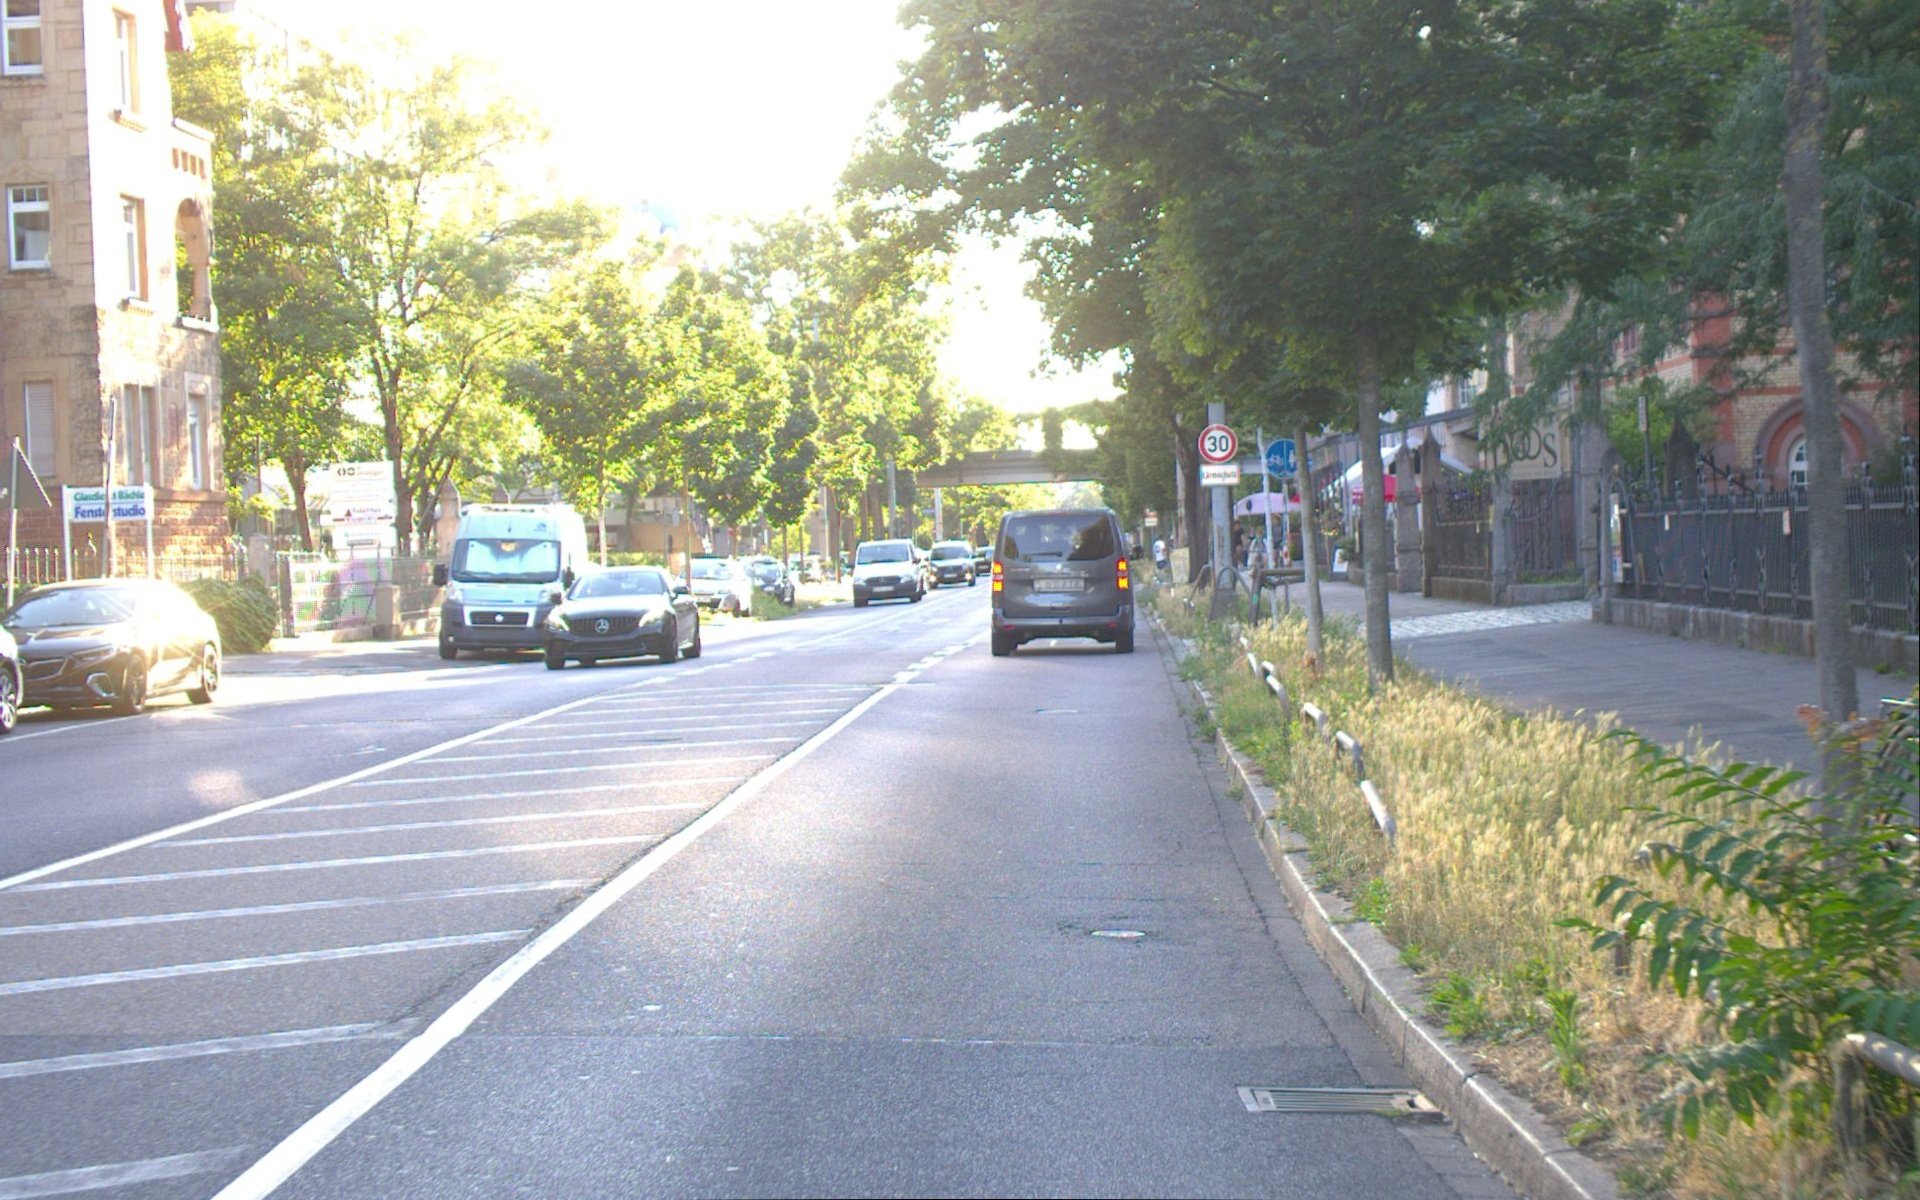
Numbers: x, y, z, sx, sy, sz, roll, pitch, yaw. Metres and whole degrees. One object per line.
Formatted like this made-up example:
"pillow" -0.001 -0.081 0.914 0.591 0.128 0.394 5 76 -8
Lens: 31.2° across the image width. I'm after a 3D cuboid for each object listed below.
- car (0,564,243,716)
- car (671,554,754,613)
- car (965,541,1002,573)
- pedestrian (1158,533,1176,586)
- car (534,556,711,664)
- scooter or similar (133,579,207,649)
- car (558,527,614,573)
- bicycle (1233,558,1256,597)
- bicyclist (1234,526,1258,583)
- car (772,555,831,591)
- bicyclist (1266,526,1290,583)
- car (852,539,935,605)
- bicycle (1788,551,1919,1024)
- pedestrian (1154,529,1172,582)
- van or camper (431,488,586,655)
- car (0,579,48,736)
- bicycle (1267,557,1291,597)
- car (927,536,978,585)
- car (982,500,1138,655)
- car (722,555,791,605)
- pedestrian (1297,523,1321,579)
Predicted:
"car" -9.382 0.392 37.289 1.994 1.478 4.829 -2 1 2
"car" -6.258 -0.437 87.273 1.697 1.446 4.000 0 1 2
"car" 1.217 -2.229 178.468 1.679 1.525 4.000 -3 1 3
"pedestrian" 7.288 -1.429 121.112 0.504 1.882 0.545 0 1 -12
"car" -4.785 0.110 49.340 1.766 1.397 4.544 -2 1 4
"scooter or similar" -12.585 0.217 54.786 1.115 1.053 0.288 -4 1 -45
"car" -18.648 -2.503 171.657 1.994 2.300 5.245 0 1 3
"bicycle" 7.657 -0.614 92.617 0.544 1.036 2.089 0 1 2
"bicyclist" 7.694 -1.232 92.542 0.595 1.527 0.893 0 1 2
"car" -6.370 -1.107 138.780 1.994 1.409 4.237 0 1 3
"bicyclist" 8.575 -1.228 92.625 0.595 1.527 0.893 0 1 2
"car" -1.956 -0.861 102.448 1.994 1.825 5.169 -3 1 3
"bicycle" 2.684 0.460 8.737 0.646 1.163 1.931 0 1 -1
"pedestrian" 7.179 -1.565 121.779 0.504 1.882 0.545 0 1 -12
"van or camper" -7.559 -0.503 58.058 1.993 2.659 6.039 0 1 -2
"car" -9.796 0.579 30.980 1.736 1.440 4.625 -2 1 2
"bicycle" 8.585 -0.627 92.513 0.517 1.036 2.089 0 1 2
"car" -0.284 -1.588 136.465 1.833 1.846 4.474 -3 1 2
"car" 1.376 -0.329 45.865 1.887 1.918 3.839 -2 1 4
"car" -5.885 -0.592 99.719 1.638 1.381 4.000 0 1 2
"pedestrian" 10.153 -1.438 100.021 0.644 1.627 0.656 0 1 3
